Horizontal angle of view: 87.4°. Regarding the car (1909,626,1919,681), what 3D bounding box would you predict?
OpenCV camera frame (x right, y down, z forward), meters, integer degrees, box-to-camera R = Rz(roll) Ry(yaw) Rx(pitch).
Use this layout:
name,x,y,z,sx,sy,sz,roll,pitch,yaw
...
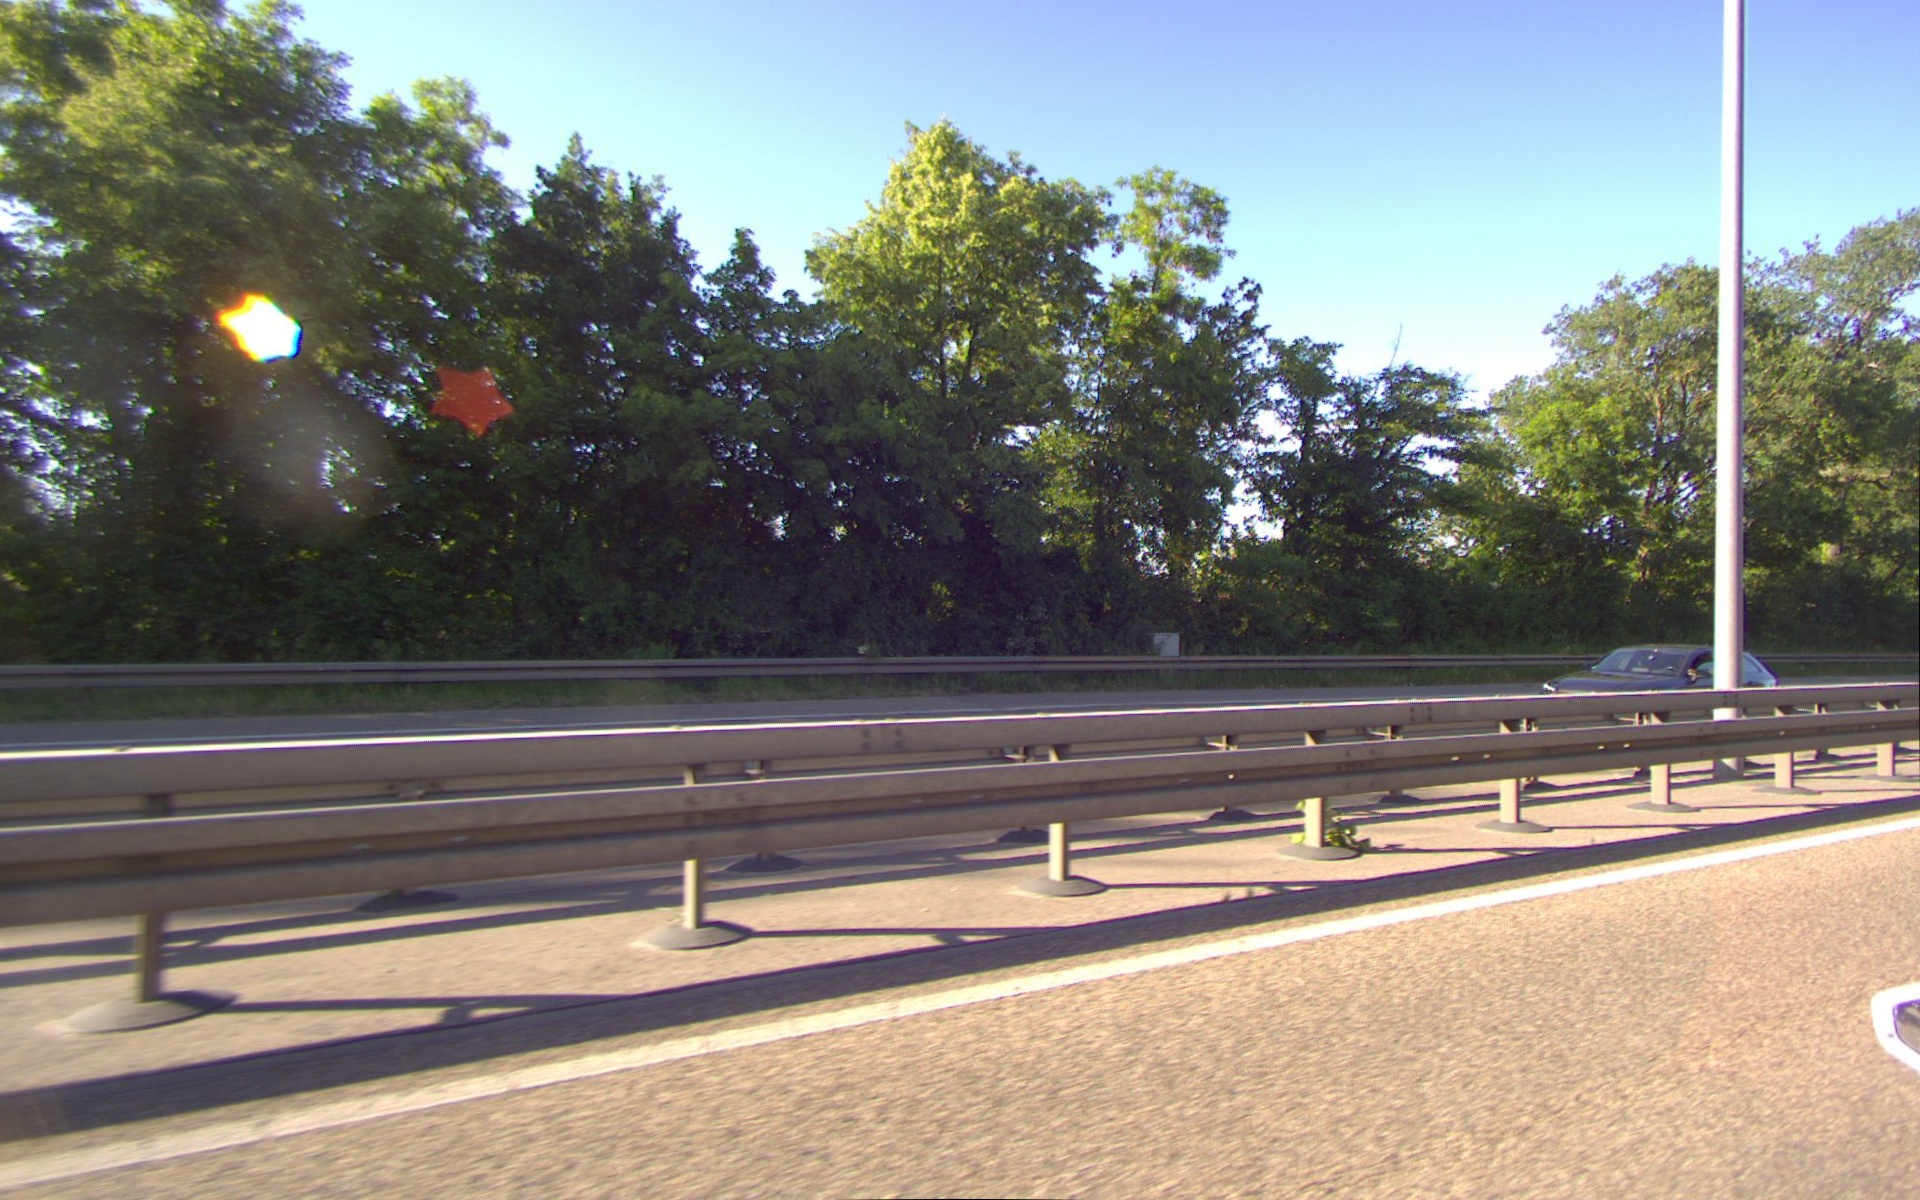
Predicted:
name,x,y,z,sx,sy,sz,roll,pitch,yaw
car,32.573,1.730,32.069,4.685,1.747,1.953,1,0,-28

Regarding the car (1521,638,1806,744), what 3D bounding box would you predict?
name,x,y,z,sx,sy,sz,roll,pitch,yaw
car,11.753,1.403,16.718,4.816,1.486,1.953,1,0,-28
